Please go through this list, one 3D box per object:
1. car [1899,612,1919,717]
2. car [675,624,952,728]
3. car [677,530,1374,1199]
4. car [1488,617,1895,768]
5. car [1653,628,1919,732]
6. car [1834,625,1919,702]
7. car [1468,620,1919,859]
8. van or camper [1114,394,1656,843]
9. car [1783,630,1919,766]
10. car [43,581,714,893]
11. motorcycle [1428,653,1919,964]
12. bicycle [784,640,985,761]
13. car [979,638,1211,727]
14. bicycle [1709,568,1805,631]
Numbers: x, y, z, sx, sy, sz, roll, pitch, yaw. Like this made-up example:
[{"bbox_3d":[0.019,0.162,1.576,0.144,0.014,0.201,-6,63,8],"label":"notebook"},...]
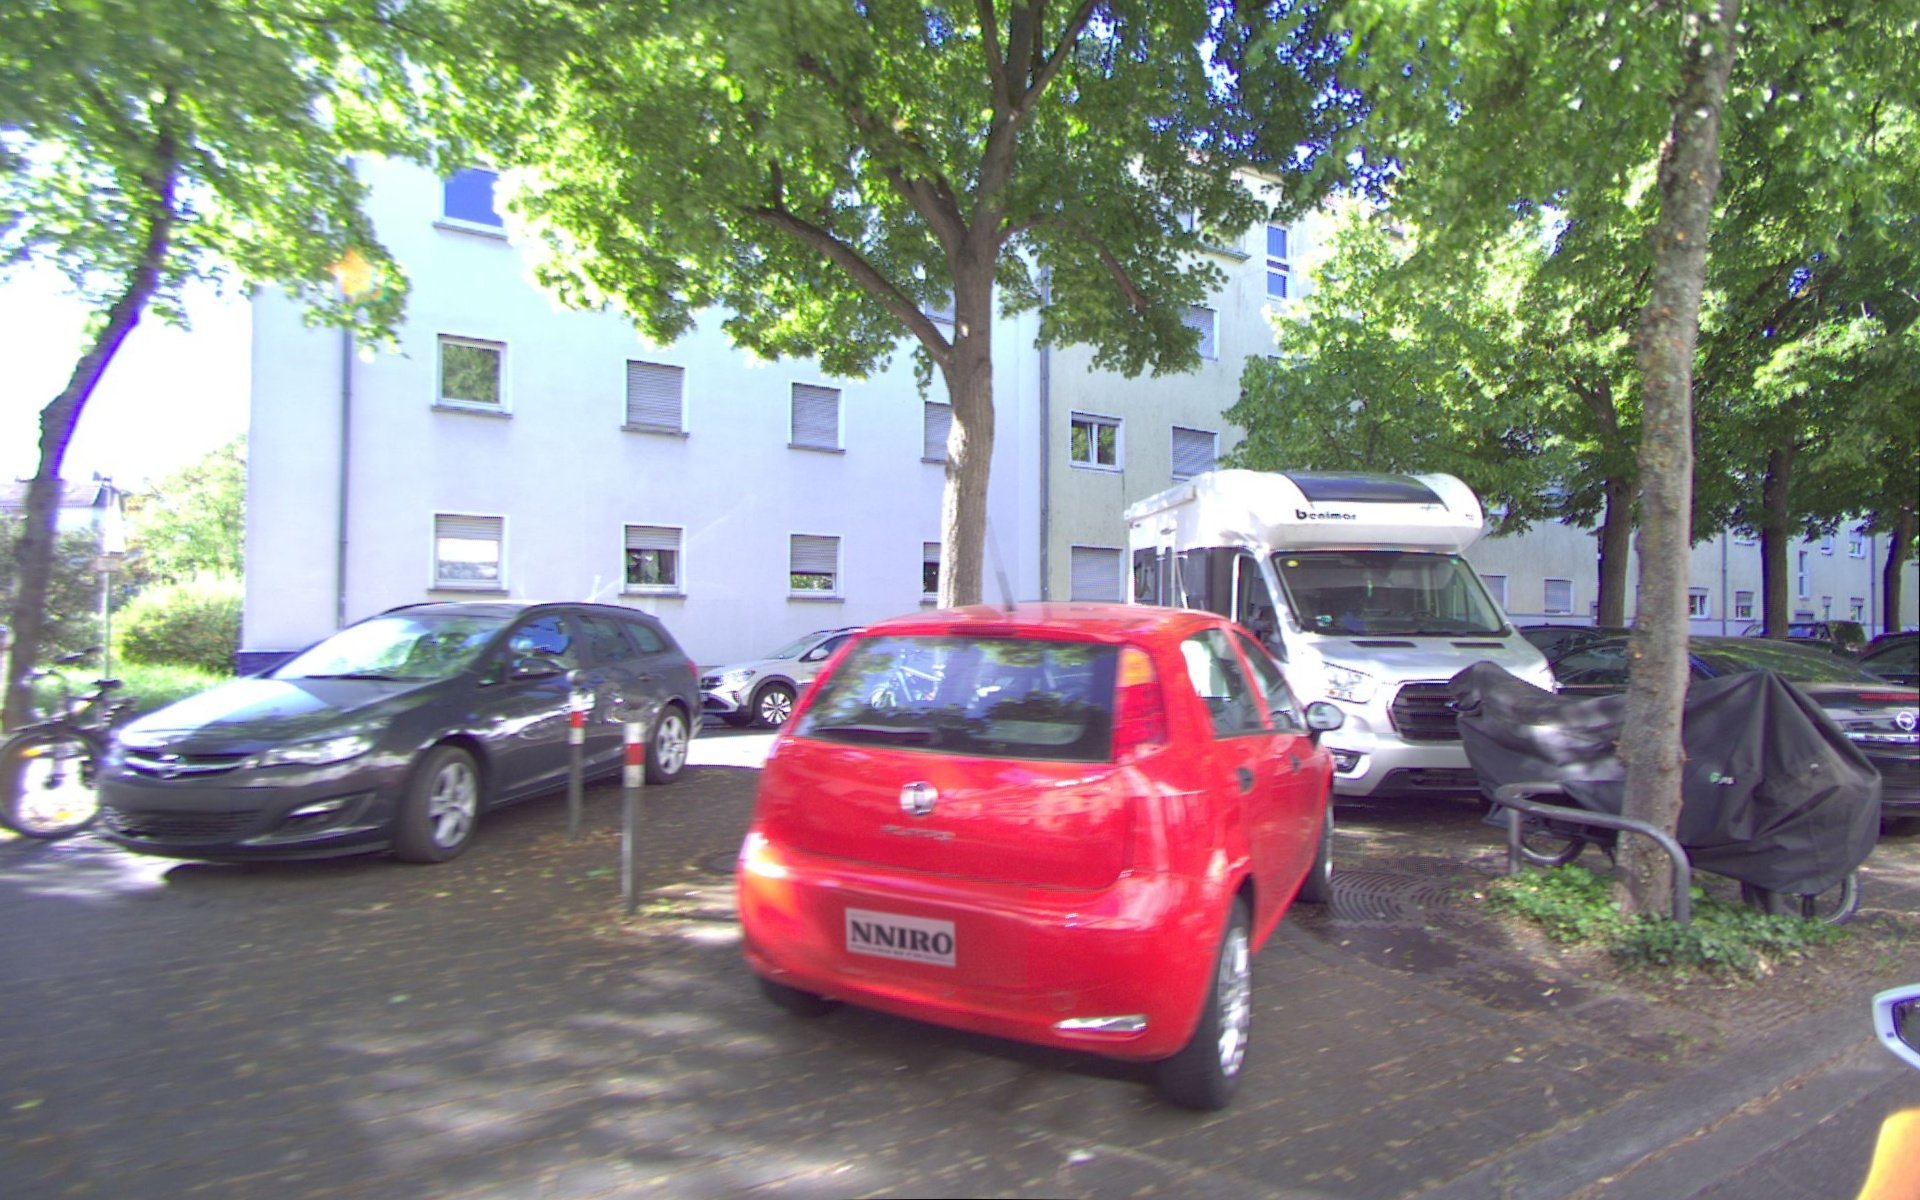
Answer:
[{"bbox_3d":[16.308,1.042,14.342,1.827,1.675,4.087,1,0,-3],"label":"car"},{"bbox_3d":[-2.282,1.155,15.978,4.038,1.455,1.740,1,-3,-33],"label":"car"},{"bbox_3d":[0.751,0.737,4.420,1.633,1.639,3.876,-1,-2,27],"label":"car"},{"bbox_3d":[8.594,0.997,12.321,1.796,1.505,3.996,2,-1,-7],"label":"car"},{"bbox_3d":[13.420,1.185,16.162,1.782,1.409,4.201,1,-1,3],"label":"car"},{"bbox_3d":[19.640,1.253,19.417,1.835,1.492,4.115,1,-1,-2],"label":"car"},{"bbox_3d":[6.020,0.921,8.247,1.681,1.444,4.159,1,-1,2],"label":"car"},{"bbox_3d":[3.258,0.149,9.676,2.361,2.862,6.305,1,0,-2],"label":"van or camper"},{"bbox_3d":[11.346,1.079,10.997,1.593,1.493,4.023,0,-2,5],"label":"car"},{"bbox_3d":[-3.459,0.722,7.061,1.796,1.505,4.141,0,-2,10],"label":"car"},{"bbox_3d":[3.720,0.950,5.449,0.868,1.246,2.144,1,-1,-21],"label":"motorcycle"},{"bbox_3d":[-0.820,0.938,10.036,0.628,0.992,2.419,1,-1,-43],"label":"bicycle"},{"bbox_3d":[2.575,1.456,18.763,4.258,1.418,1.634,1,1,-33],"label":"car"},{"bbox_3d":[16.060,0.000,20.242,1.767,1.216,0.356,1,0,-7],"label":"bicycle"}]
